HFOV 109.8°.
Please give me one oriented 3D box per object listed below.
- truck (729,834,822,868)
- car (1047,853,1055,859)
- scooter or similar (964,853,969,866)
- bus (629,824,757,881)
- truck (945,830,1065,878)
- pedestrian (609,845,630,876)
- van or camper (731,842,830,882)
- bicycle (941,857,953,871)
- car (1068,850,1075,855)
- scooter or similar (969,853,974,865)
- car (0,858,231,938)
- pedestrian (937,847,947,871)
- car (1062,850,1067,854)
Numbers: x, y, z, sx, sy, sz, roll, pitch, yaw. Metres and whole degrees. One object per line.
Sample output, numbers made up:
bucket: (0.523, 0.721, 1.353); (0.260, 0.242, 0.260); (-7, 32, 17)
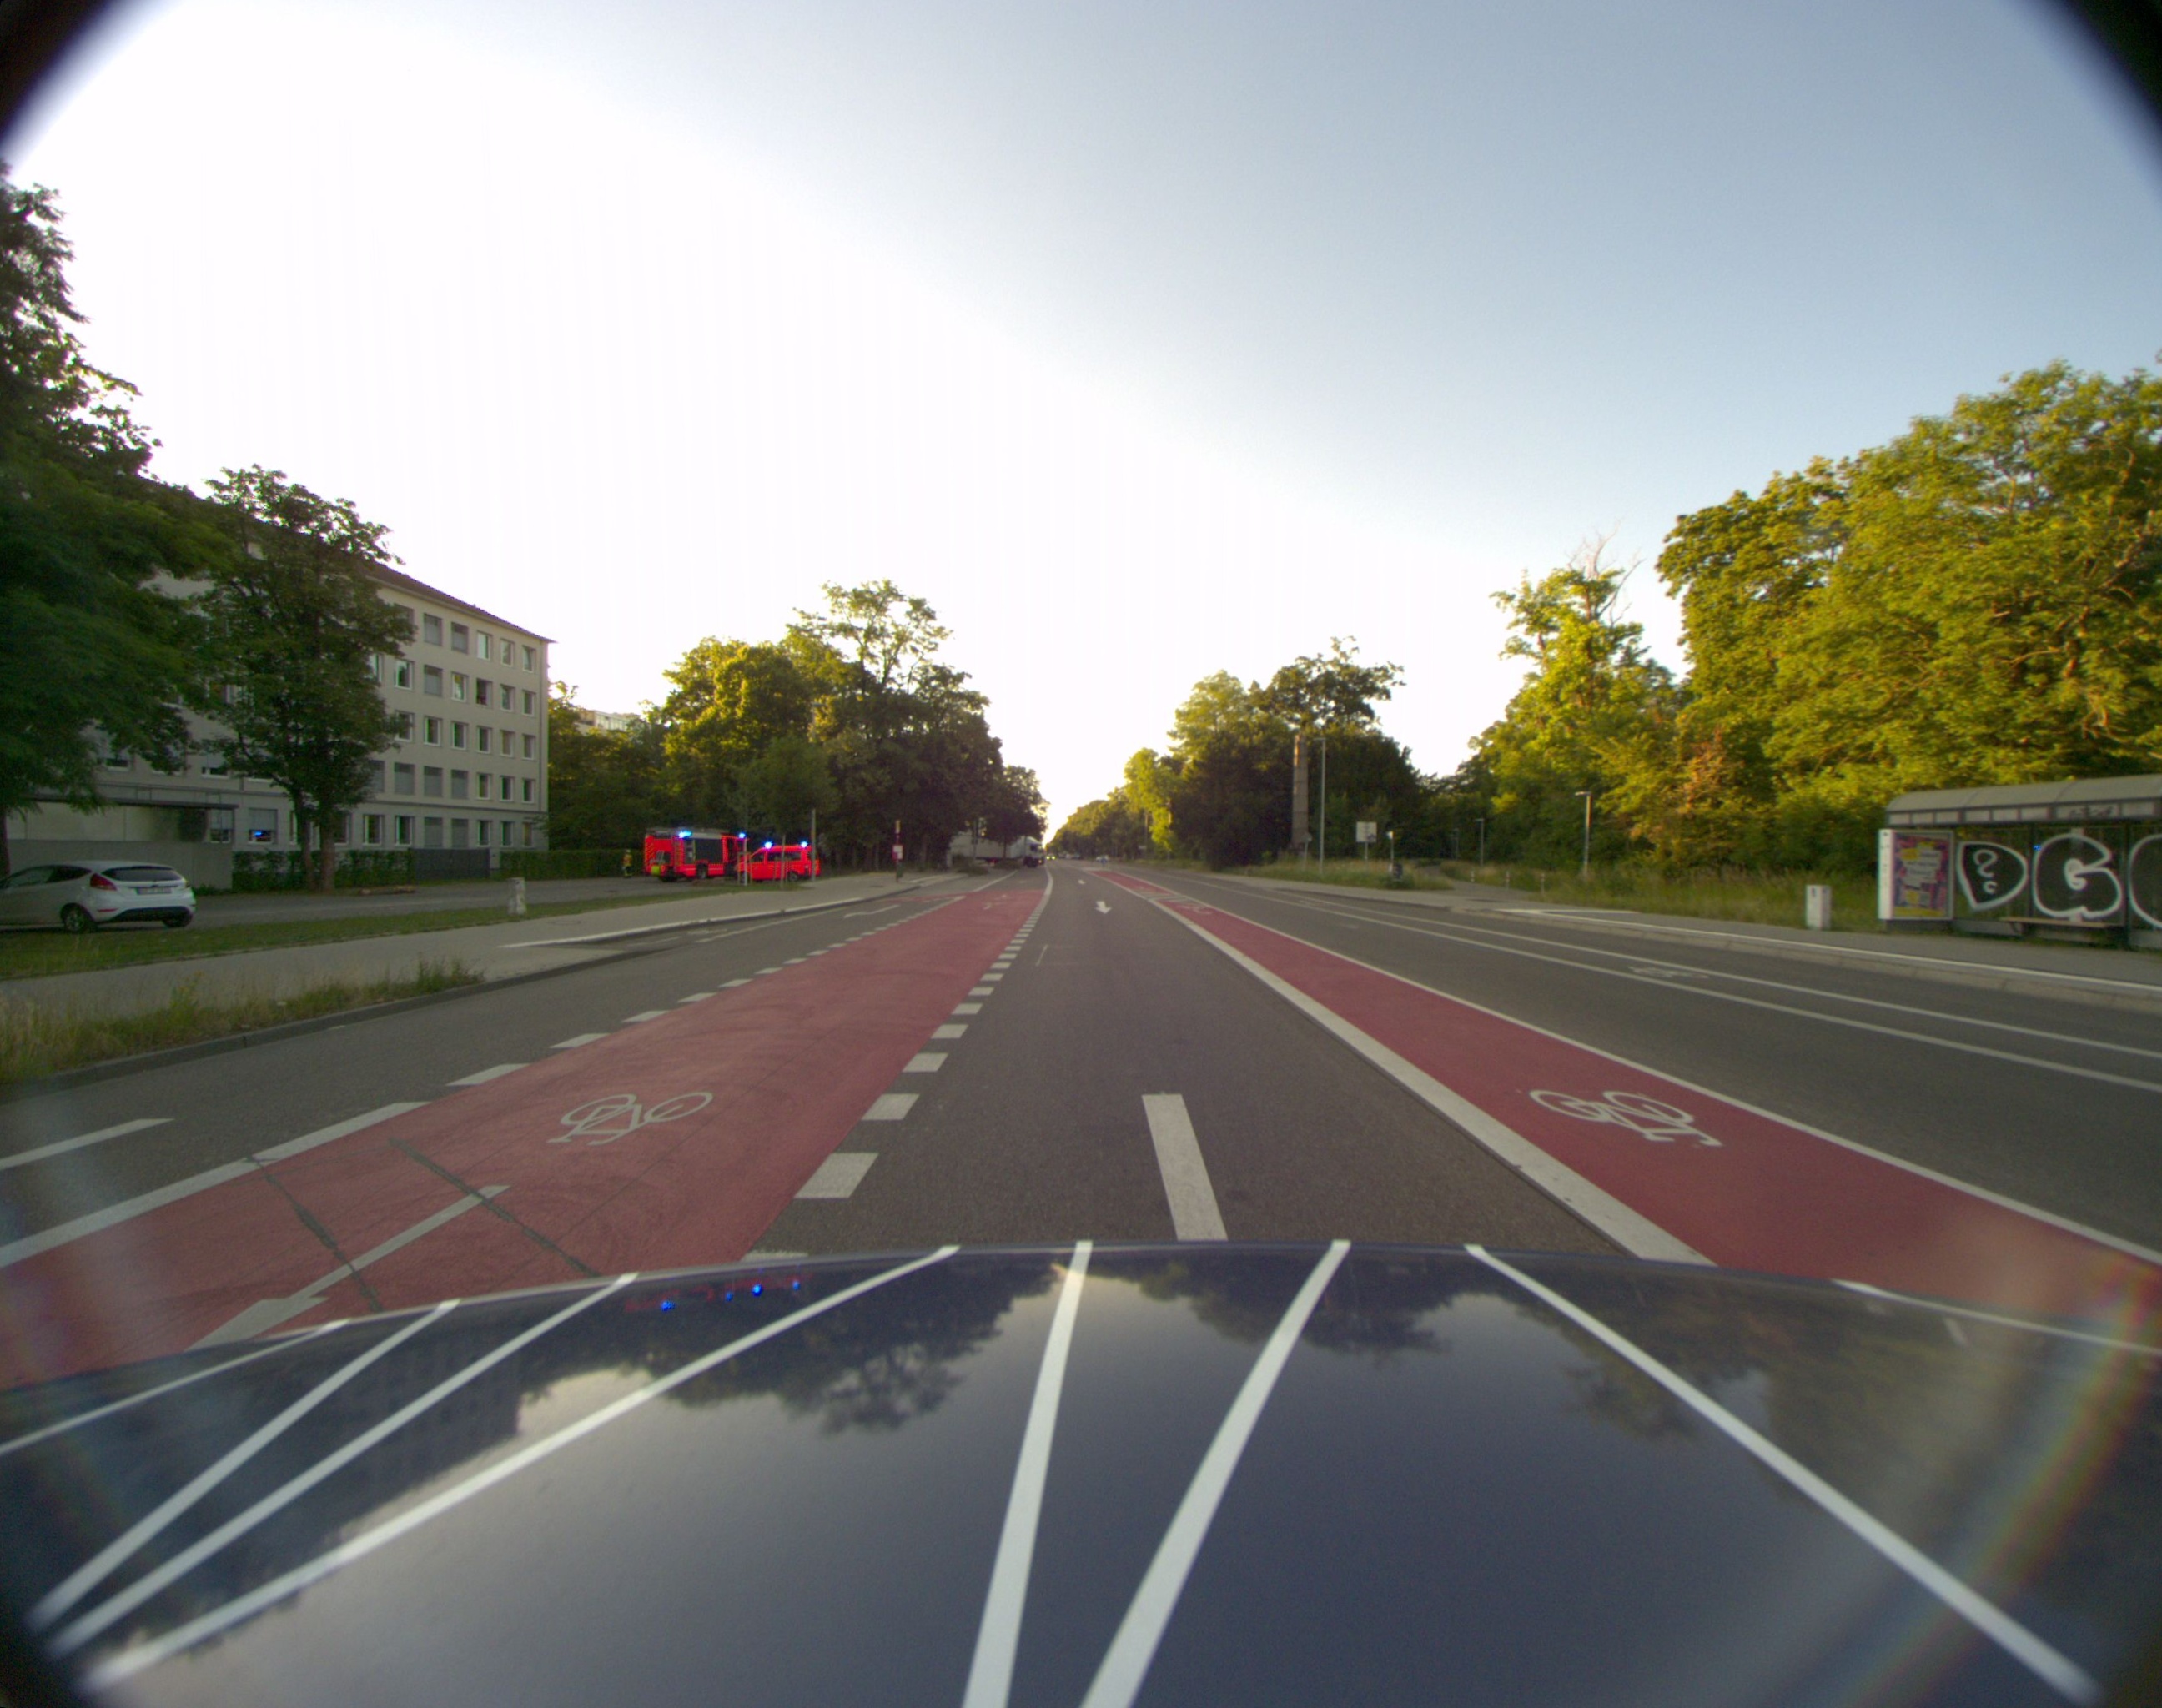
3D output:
truck: (-29.827, -0.267, 74.154); (8.645, 3.192, 2.765); (0, 0, 17)
car: (-7.613, 0.476, 195.485); (1.999, 1.608, 3.999); (0, 0, -1)
scooter or similar: (-12.225, 0.579, 81.337); (0.483, 1.274, 1.230); (2, 0, -8)
bus: (-23.756, -0.112, 47.129); (2.993, 3.177, 7.968); (-1, 0, 8)
truck: (-9.666, -0.022, 94.776); (15.040, 5.542, 5.170); (0, 1, 35)
pedestrian: (-29.982, 0.441, 49.351); (0.772, 2.002, 0.826); (0, 1, 9)
van or camper: (-17.666, 0.438, 44.796); (4.823, 2.232, 2.296); (-1, 1, 6)
bicycle: (-11.207, 0.841, 63.387); (0.833, 1.091, 1.966); (-2, 1, -14)
car: (-2.899, -0.393, 232.865); (1.851, 1.406, 4.180); (0, 0, 1)
scooter or similar: (-11.970, 0.581, 83.110); (0.483, 1.274, 1.139); (2, 0, -8)
car: (-20.905, 0.895, 15.996); (3.996, 1.528, 1.912); (-1, 1, 4)
pedestrian: (-11.584, 0.389, 63.386); (0.726, 2.002, 0.694); (0, 1, -18)
car: (-5.589, -0.785, 256.368); (1.754, 1.299, 3.999); (1, 0, -2)
